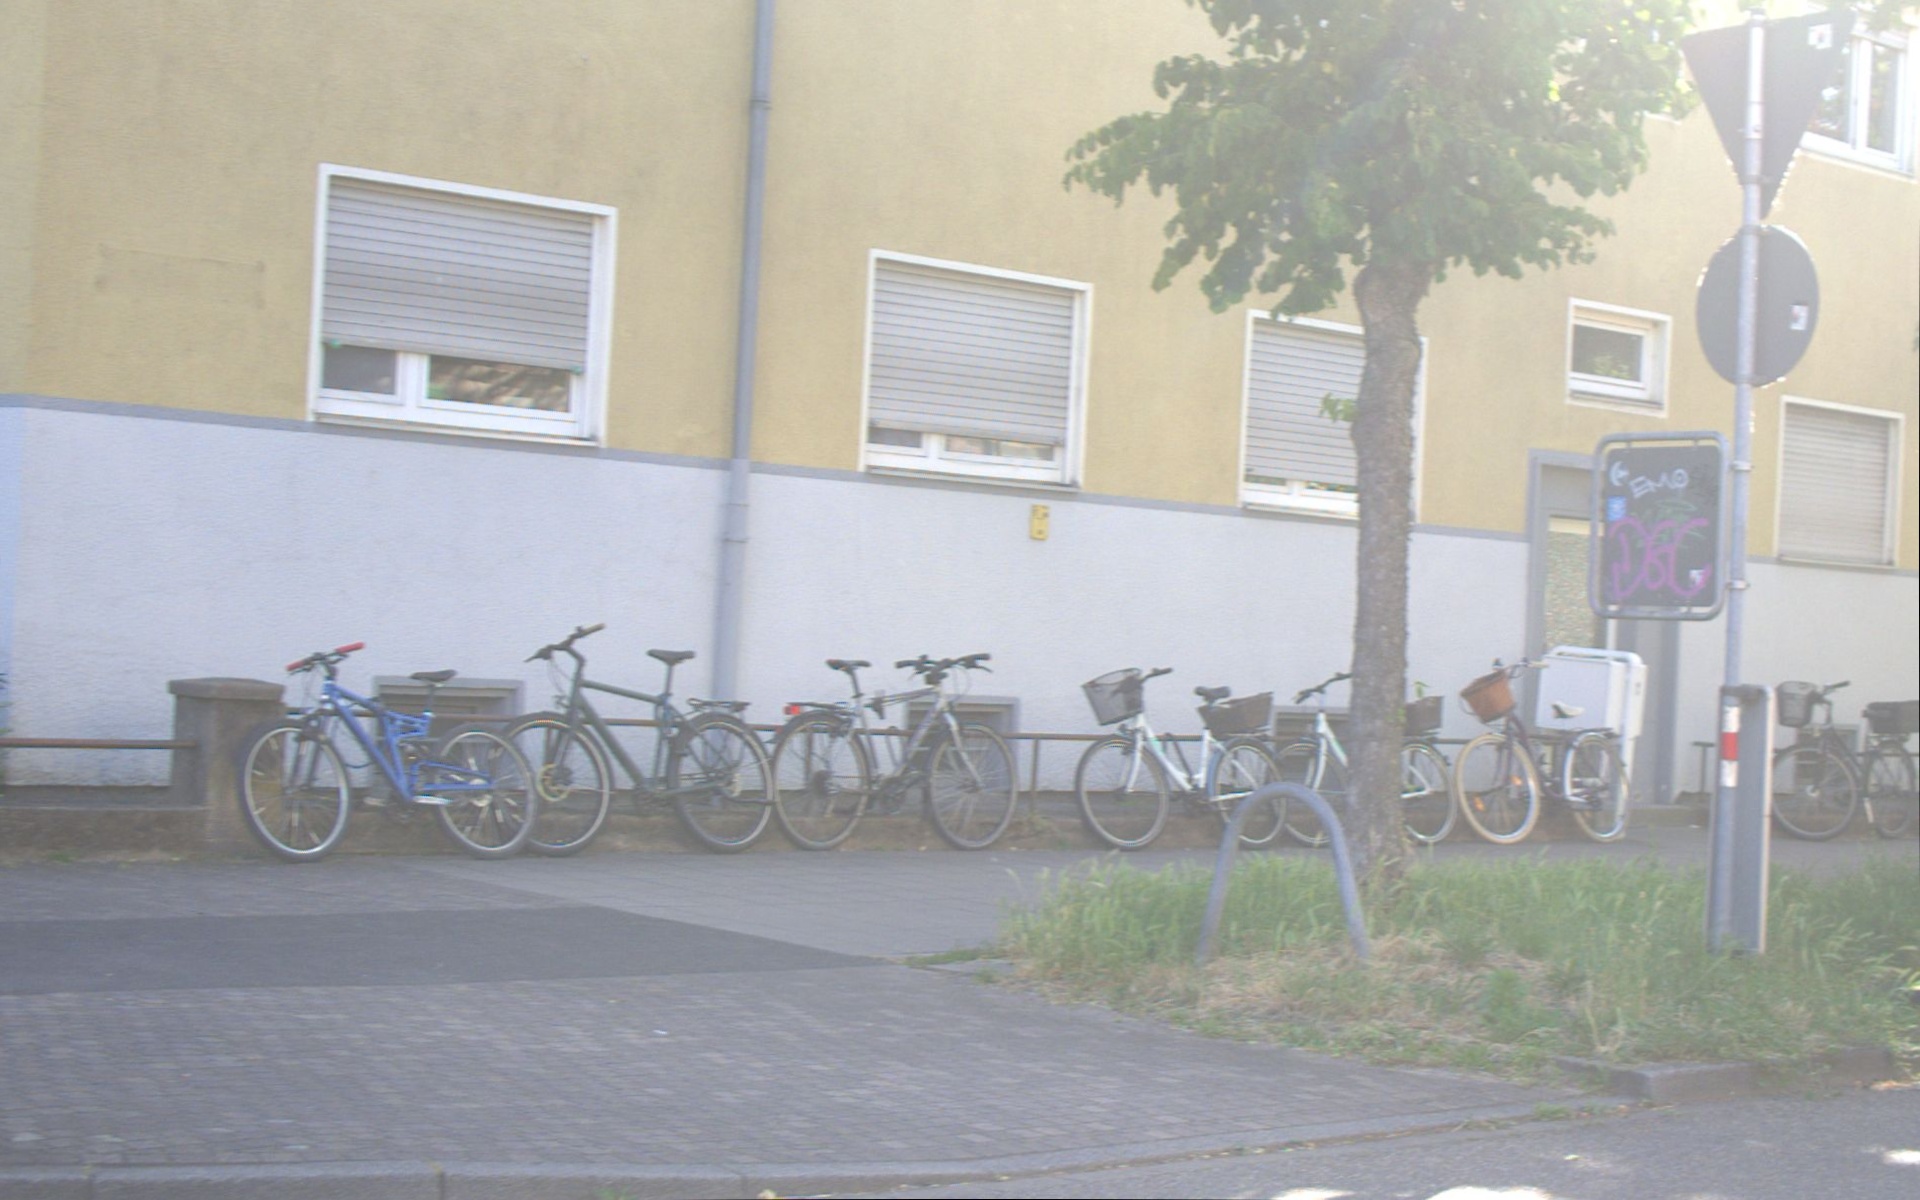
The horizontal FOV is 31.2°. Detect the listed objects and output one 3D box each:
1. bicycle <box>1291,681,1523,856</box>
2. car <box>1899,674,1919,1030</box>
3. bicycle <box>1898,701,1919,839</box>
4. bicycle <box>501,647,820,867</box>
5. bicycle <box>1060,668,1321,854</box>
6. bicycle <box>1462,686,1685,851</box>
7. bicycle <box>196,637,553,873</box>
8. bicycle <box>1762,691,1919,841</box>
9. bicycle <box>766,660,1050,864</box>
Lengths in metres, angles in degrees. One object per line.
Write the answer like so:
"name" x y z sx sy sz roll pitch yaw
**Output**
"bicycle" 2.727 1.021 20.888 1.540 0.997 0.513 3 0 -45
"car" 5.826 1.126 14.866 1.764 1.437 3.984 3 0 42
"bicycle" 7.936 1.323 26.408 1.743 1.023 0.537 3 0 -44
"bicycle" -1.429 0.758 16.616 1.540 0.997 0.476 3 0 -45
"bicycle" 1.333 0.920 19.631 1.677 0.997 0.435 3 0 -45
"bicycle" 3.941 1.079 22.024 1.540 0.997 0.516 3 0 -42
"bicycle" -2.618 0.697 15.490 1.540 0.997 0.477 3 0 -45
"bicycle" 6.587 1.212 25.034 1.743 1.023 0.542 3 0 -44
"bicycle" -0.253 0.839 17.812 1.540 0.997 0.454 3 0 -45
